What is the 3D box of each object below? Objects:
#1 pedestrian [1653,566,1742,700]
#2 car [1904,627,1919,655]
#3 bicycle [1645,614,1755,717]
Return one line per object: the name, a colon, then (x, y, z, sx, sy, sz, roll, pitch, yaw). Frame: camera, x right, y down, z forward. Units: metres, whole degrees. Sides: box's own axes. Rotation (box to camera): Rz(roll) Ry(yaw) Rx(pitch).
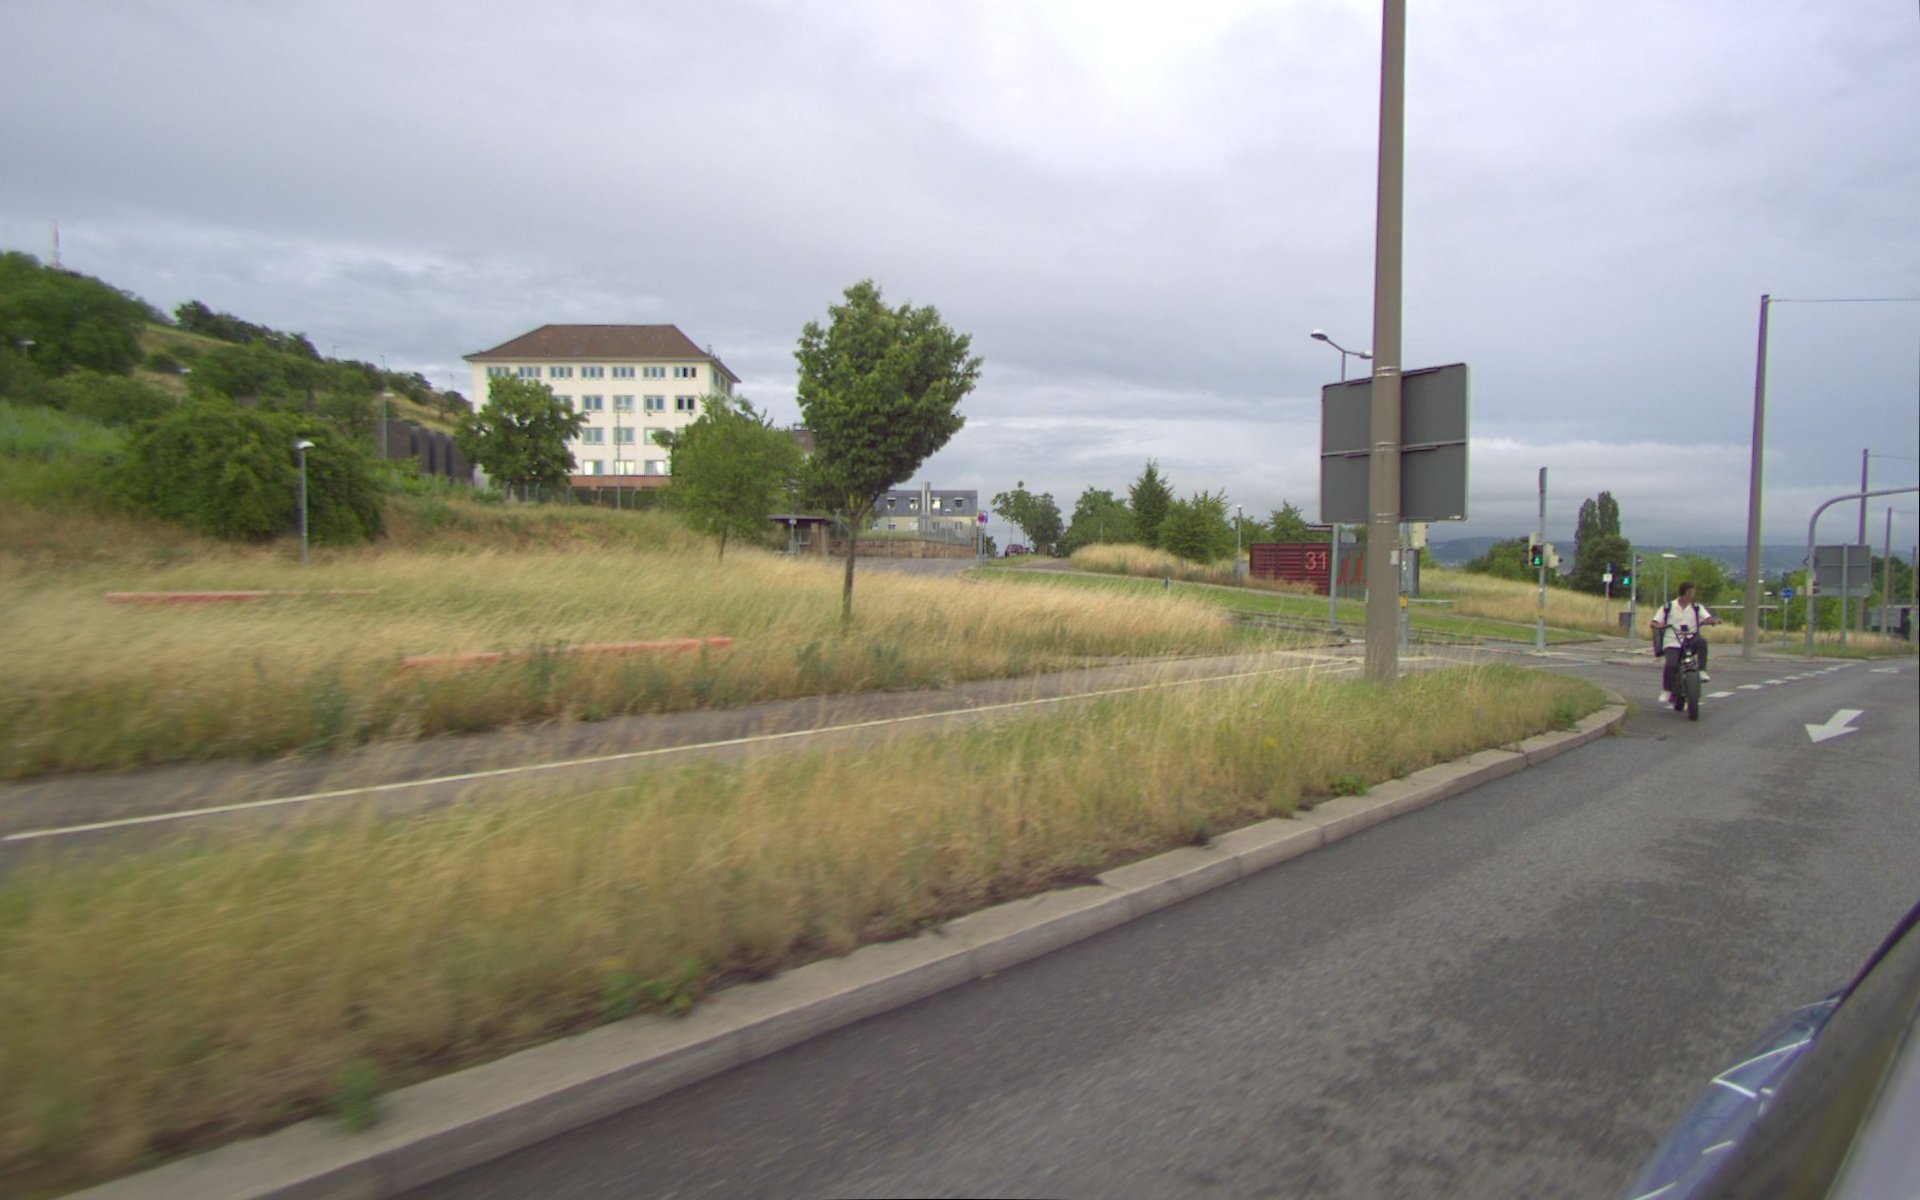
pedestrian: (9.231, 0.383, 12.707, 0.627, 1.590, 0.889, 3, 1, 22)
car: (61.871, 2.593, 64.854, 3.756, 1.560, 1.839, -2, 0, -45)
bicycle: (9.170, 0.768, 12.608, 0.627, 1.118, 1.741, 3, 2, 21)
